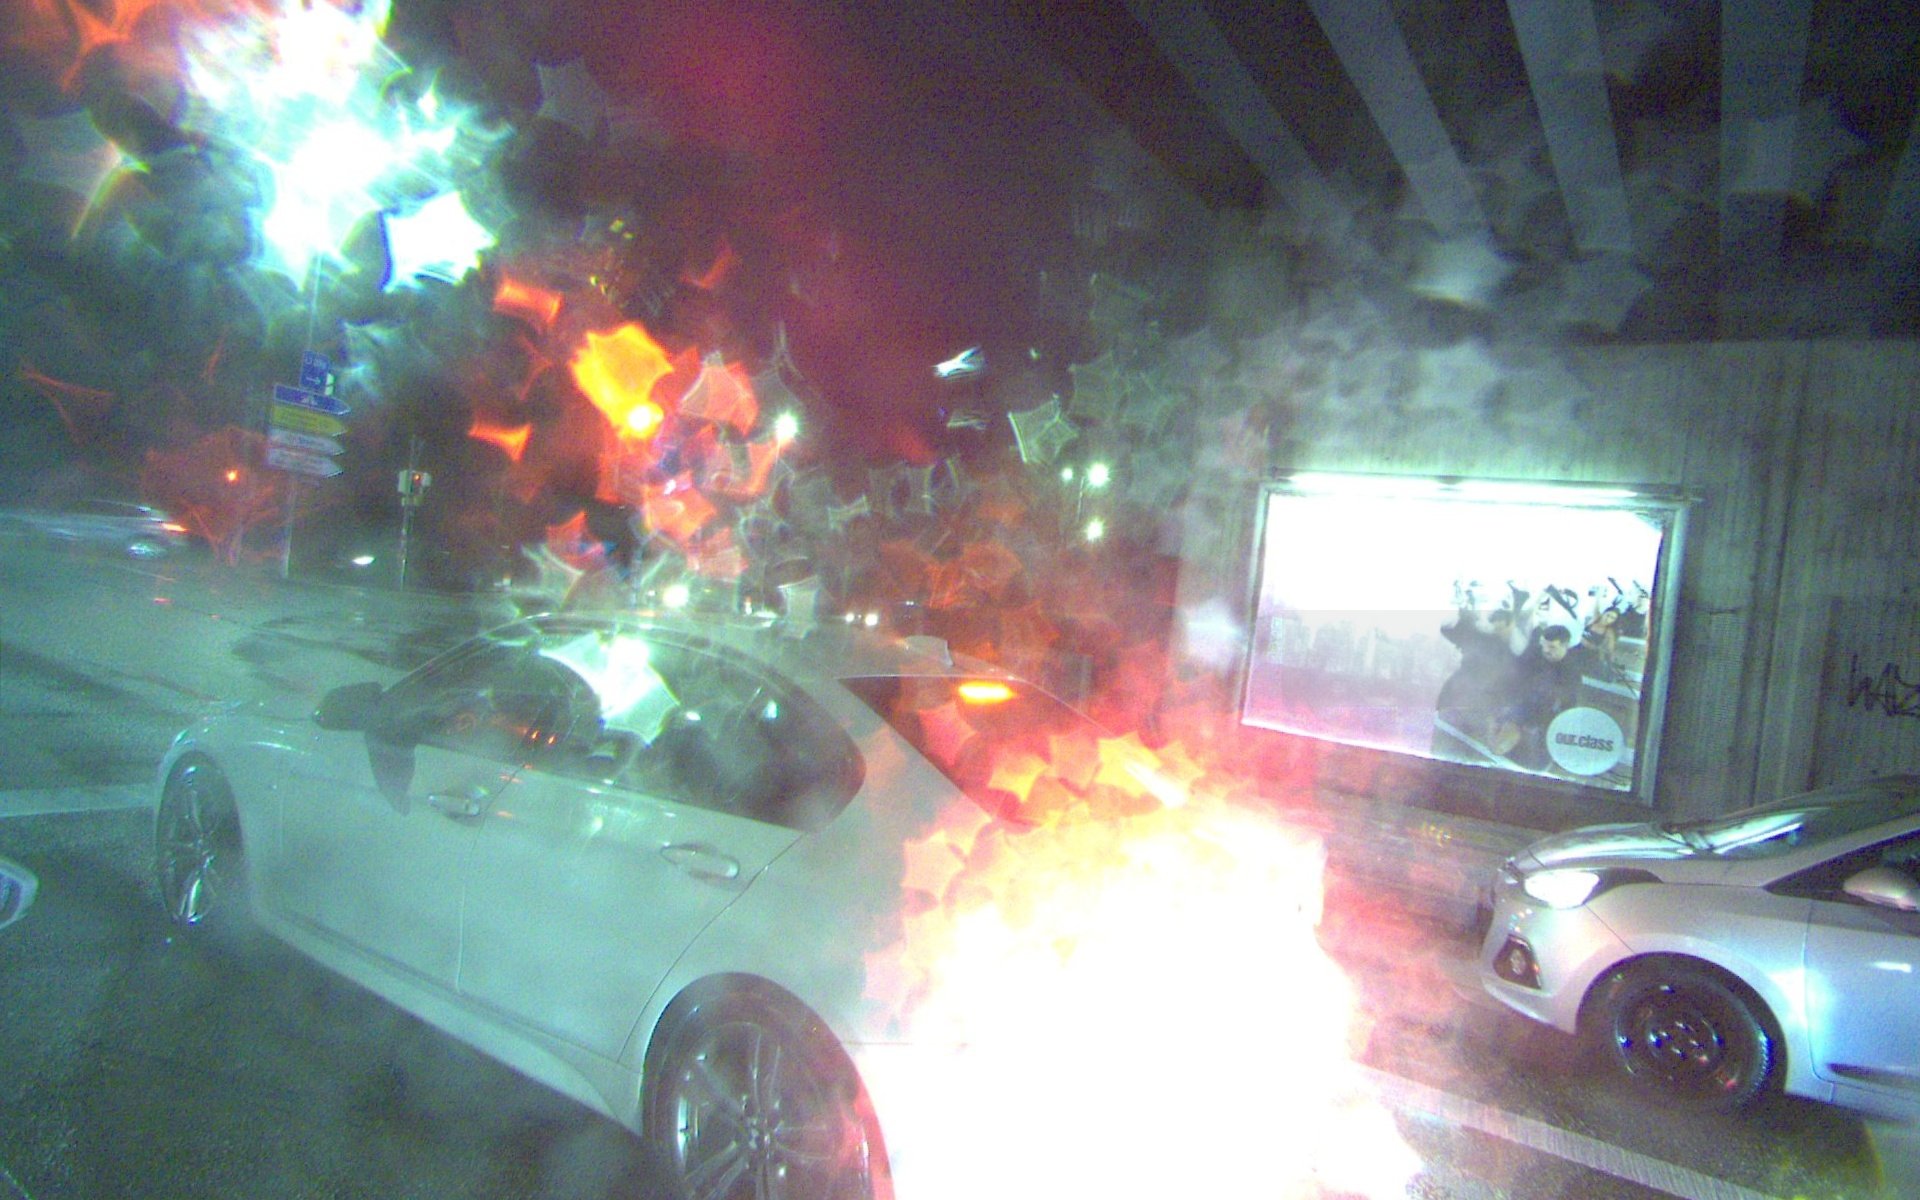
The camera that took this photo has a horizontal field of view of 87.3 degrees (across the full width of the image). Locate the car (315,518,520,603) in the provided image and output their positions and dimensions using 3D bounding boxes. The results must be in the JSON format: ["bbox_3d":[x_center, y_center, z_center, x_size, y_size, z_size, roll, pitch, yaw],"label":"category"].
[{"bbox_3d":[-16.097,-1.136,30.116,1.941,1.761,4.906,6,-2,36],"label":"car"}]

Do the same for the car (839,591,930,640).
[{"bbox_3d":[-3.573,0.760,48.493,1.830,1.769,4.496,6,-2,35],"label":"car"}]

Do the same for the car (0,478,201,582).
[{"bbox_3d":[-23.269,-1.852,26.781,4.604,2.037,1.977,9,-2,-42],"label":"car"}]

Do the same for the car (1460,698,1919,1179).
[{"bbox_3d":[4.108,1.391,4.043,3.534,1.476,1.637,6,-2,31],"label":"car"}]

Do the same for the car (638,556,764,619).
[{"bbox_3d":[-9.877,-0.433,38.705,1.880,1.761,4.388,6,-2,35],"label":"car"}]

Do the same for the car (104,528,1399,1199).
[{"bbox_3d":[-0.971,0.708,3.497,4.277,1.420,1.720,6,-2,32],"label":"car"}]
